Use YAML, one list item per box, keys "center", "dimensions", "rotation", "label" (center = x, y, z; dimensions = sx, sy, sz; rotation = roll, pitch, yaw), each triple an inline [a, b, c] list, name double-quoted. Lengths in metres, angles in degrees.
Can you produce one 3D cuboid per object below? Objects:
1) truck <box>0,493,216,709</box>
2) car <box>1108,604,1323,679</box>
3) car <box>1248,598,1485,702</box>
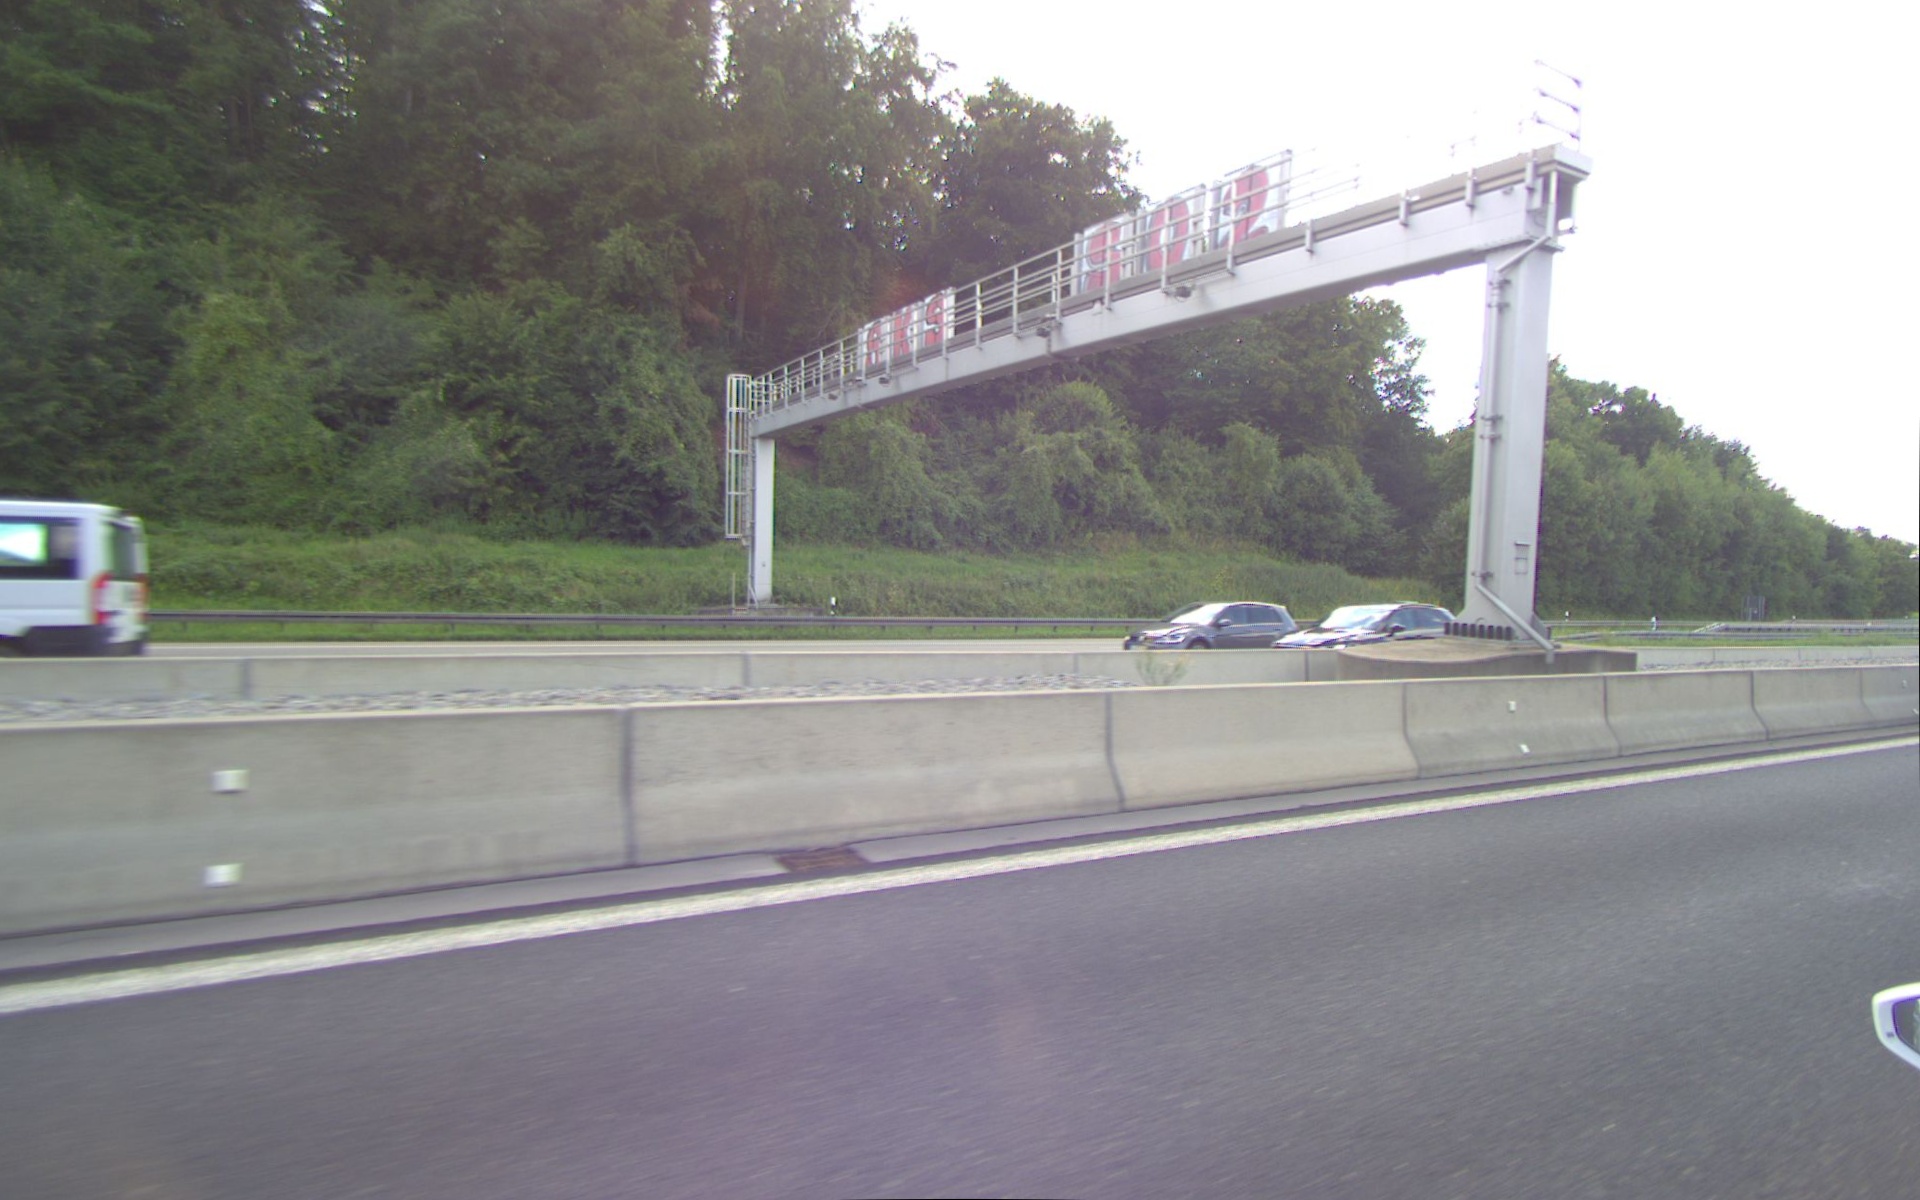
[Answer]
- center: [-11.630, -0.027, 10.835]
  dimensions: [5.504, 2.255, 2.174]
  rotation: [1, 0, -29]
  label: "truck"
- center: [5.448, 0.855, 21.255]
  dimensions: [4.546, 1.414, 1.658]
  rotation: [1, 0, -30]
  label: "car"
- center: [7.433, 0.862, 18.327]
  dimensions: [3.953, 1.663, 1.984]
  rotation: [1, 0, -30]
  label: "car"
